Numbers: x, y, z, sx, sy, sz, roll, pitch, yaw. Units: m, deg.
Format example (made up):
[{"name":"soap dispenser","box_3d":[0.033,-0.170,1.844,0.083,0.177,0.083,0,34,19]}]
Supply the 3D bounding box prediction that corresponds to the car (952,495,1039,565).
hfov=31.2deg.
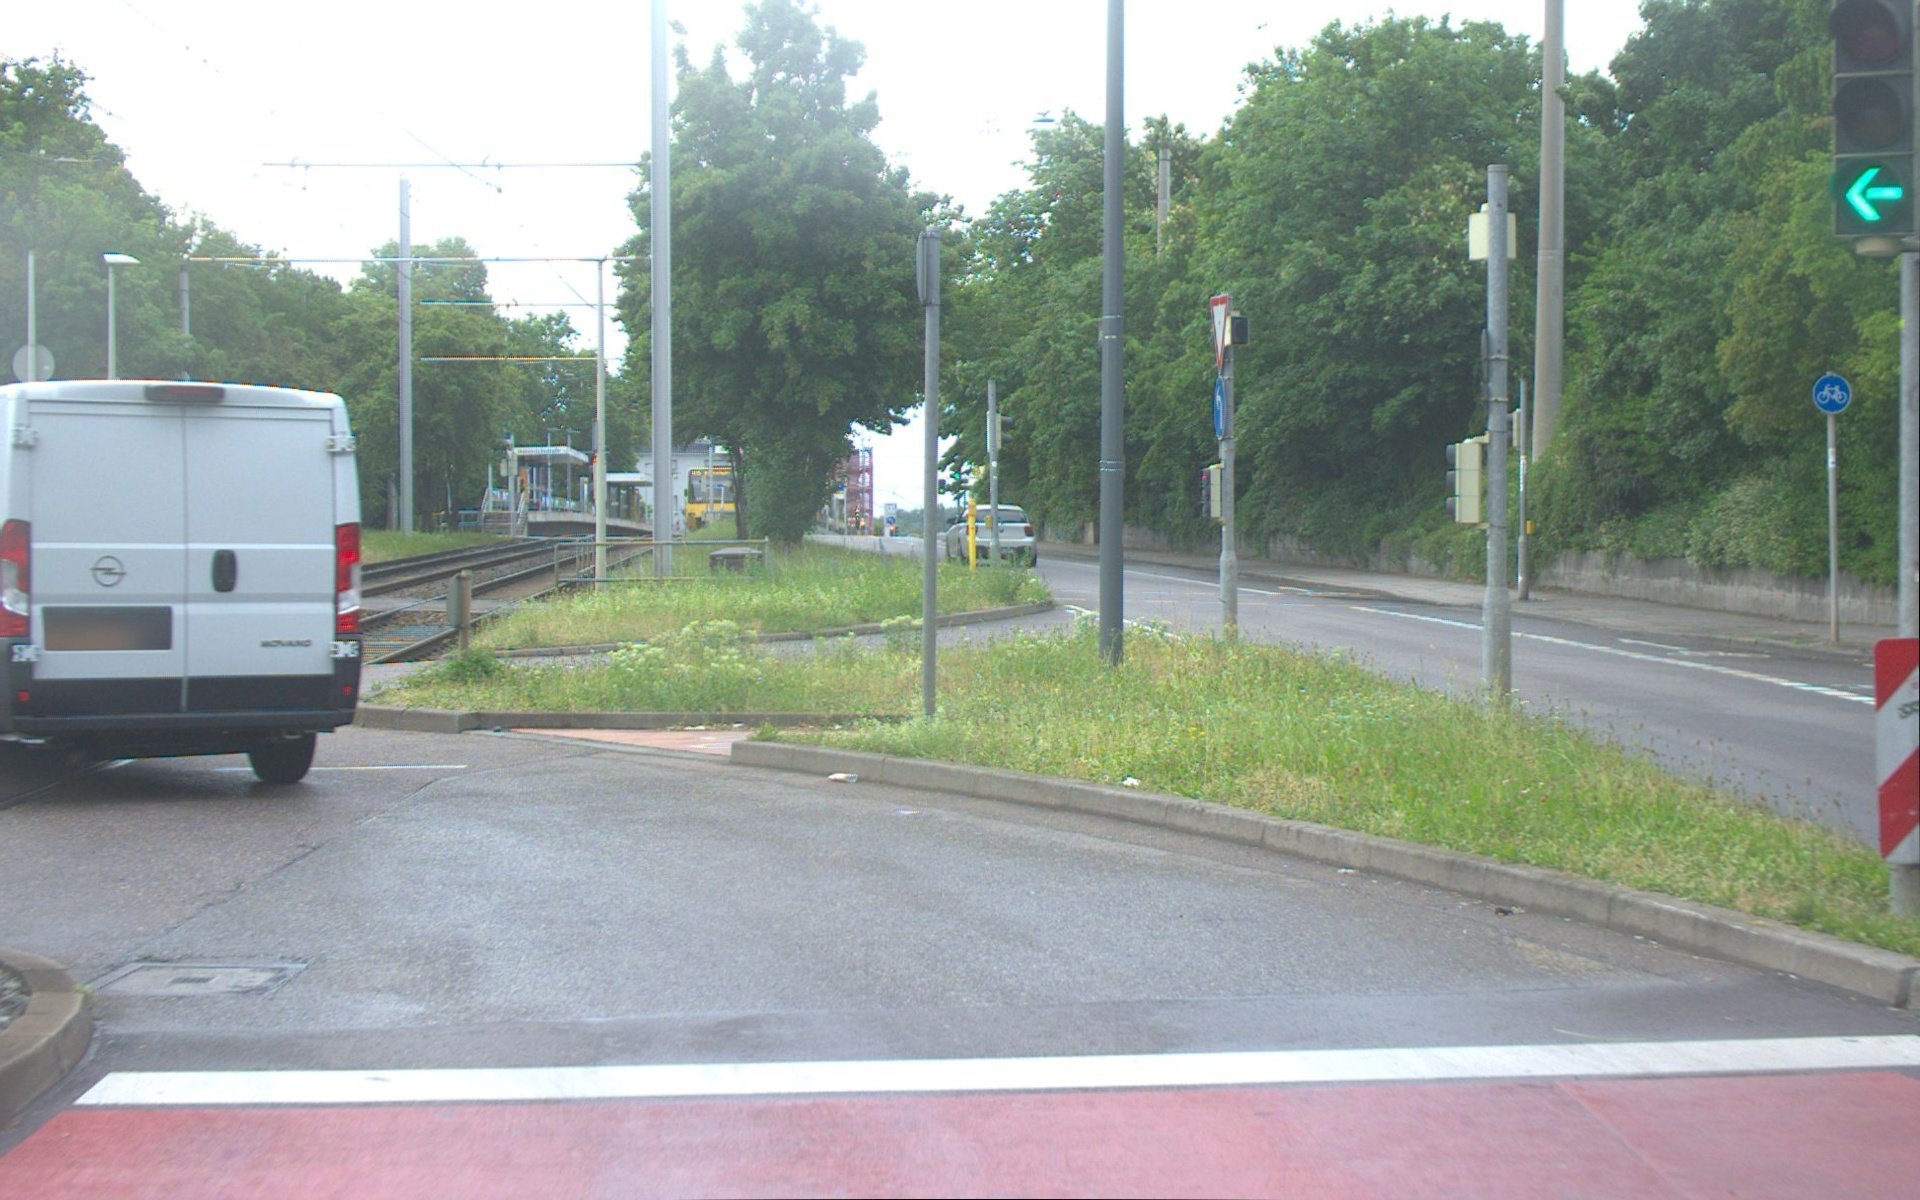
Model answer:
[{"name":"car","box_3d":[0.789,-1.638,79.166,1.703,1.516,3.792,1,2,-3]}]

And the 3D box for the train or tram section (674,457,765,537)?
[{"name":"train or tram section","box_3d":[-12.337,-5.370,177.830,4.060,3.880,15.042,1,2,-2]}]

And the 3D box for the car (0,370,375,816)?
[{"name":"car","box_3d":[-5.401,-0.148,20.176,2.146,2.275,5.063,-1,3,-31]}]
